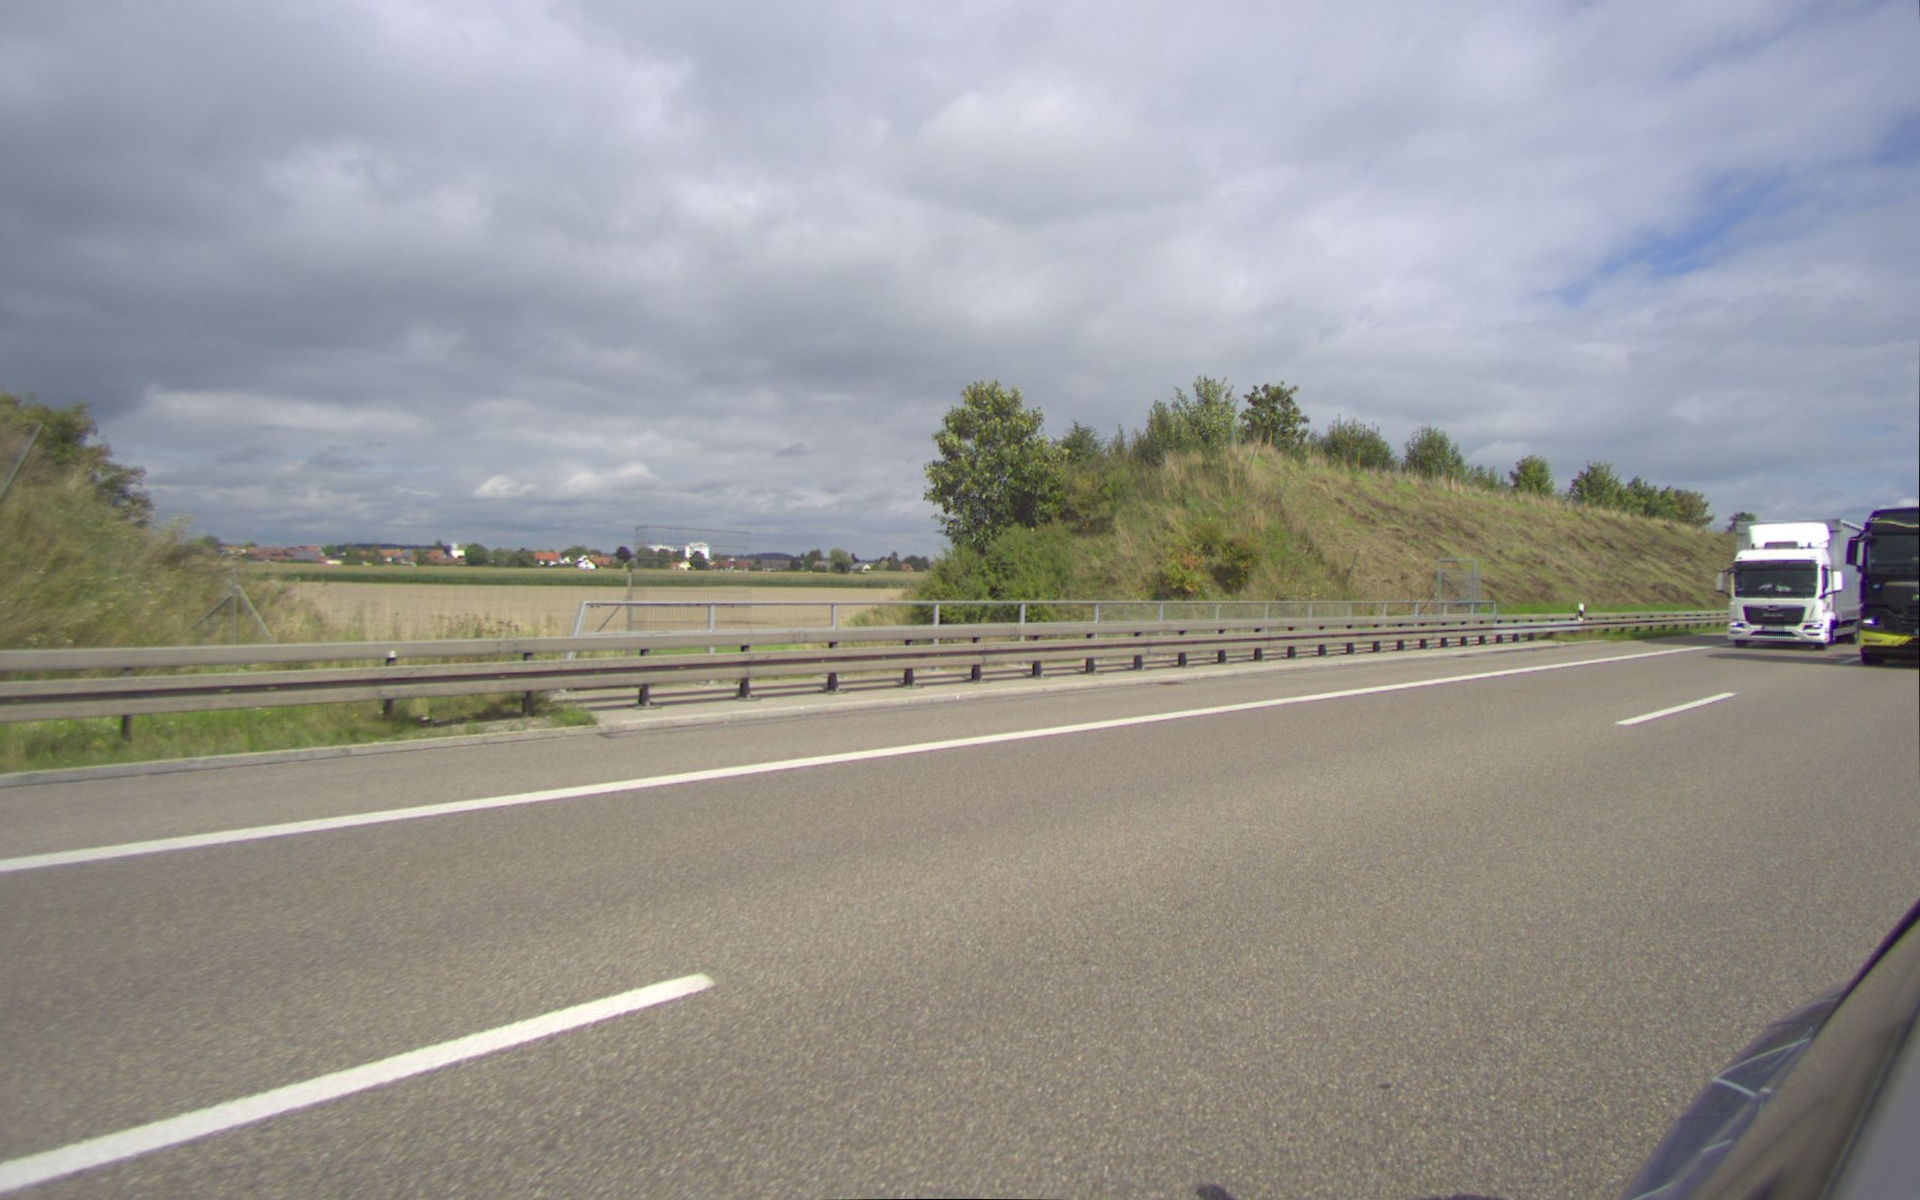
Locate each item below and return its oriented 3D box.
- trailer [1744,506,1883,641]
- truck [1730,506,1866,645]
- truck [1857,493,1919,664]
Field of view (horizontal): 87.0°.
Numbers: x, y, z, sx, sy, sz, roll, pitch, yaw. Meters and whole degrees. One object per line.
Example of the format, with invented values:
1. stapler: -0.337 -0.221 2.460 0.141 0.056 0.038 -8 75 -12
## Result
1. trailer: 29.121 -0.852 34.368 8.527 4.062 2.750 -1 1 -44
2. truck: 25.900 -0.732 31.230 4.470 3.941 2.751 0 0 -44
3. truck: 23.517 -0.490 23.886 8.181 3.594 2.850 -1 0 -44
